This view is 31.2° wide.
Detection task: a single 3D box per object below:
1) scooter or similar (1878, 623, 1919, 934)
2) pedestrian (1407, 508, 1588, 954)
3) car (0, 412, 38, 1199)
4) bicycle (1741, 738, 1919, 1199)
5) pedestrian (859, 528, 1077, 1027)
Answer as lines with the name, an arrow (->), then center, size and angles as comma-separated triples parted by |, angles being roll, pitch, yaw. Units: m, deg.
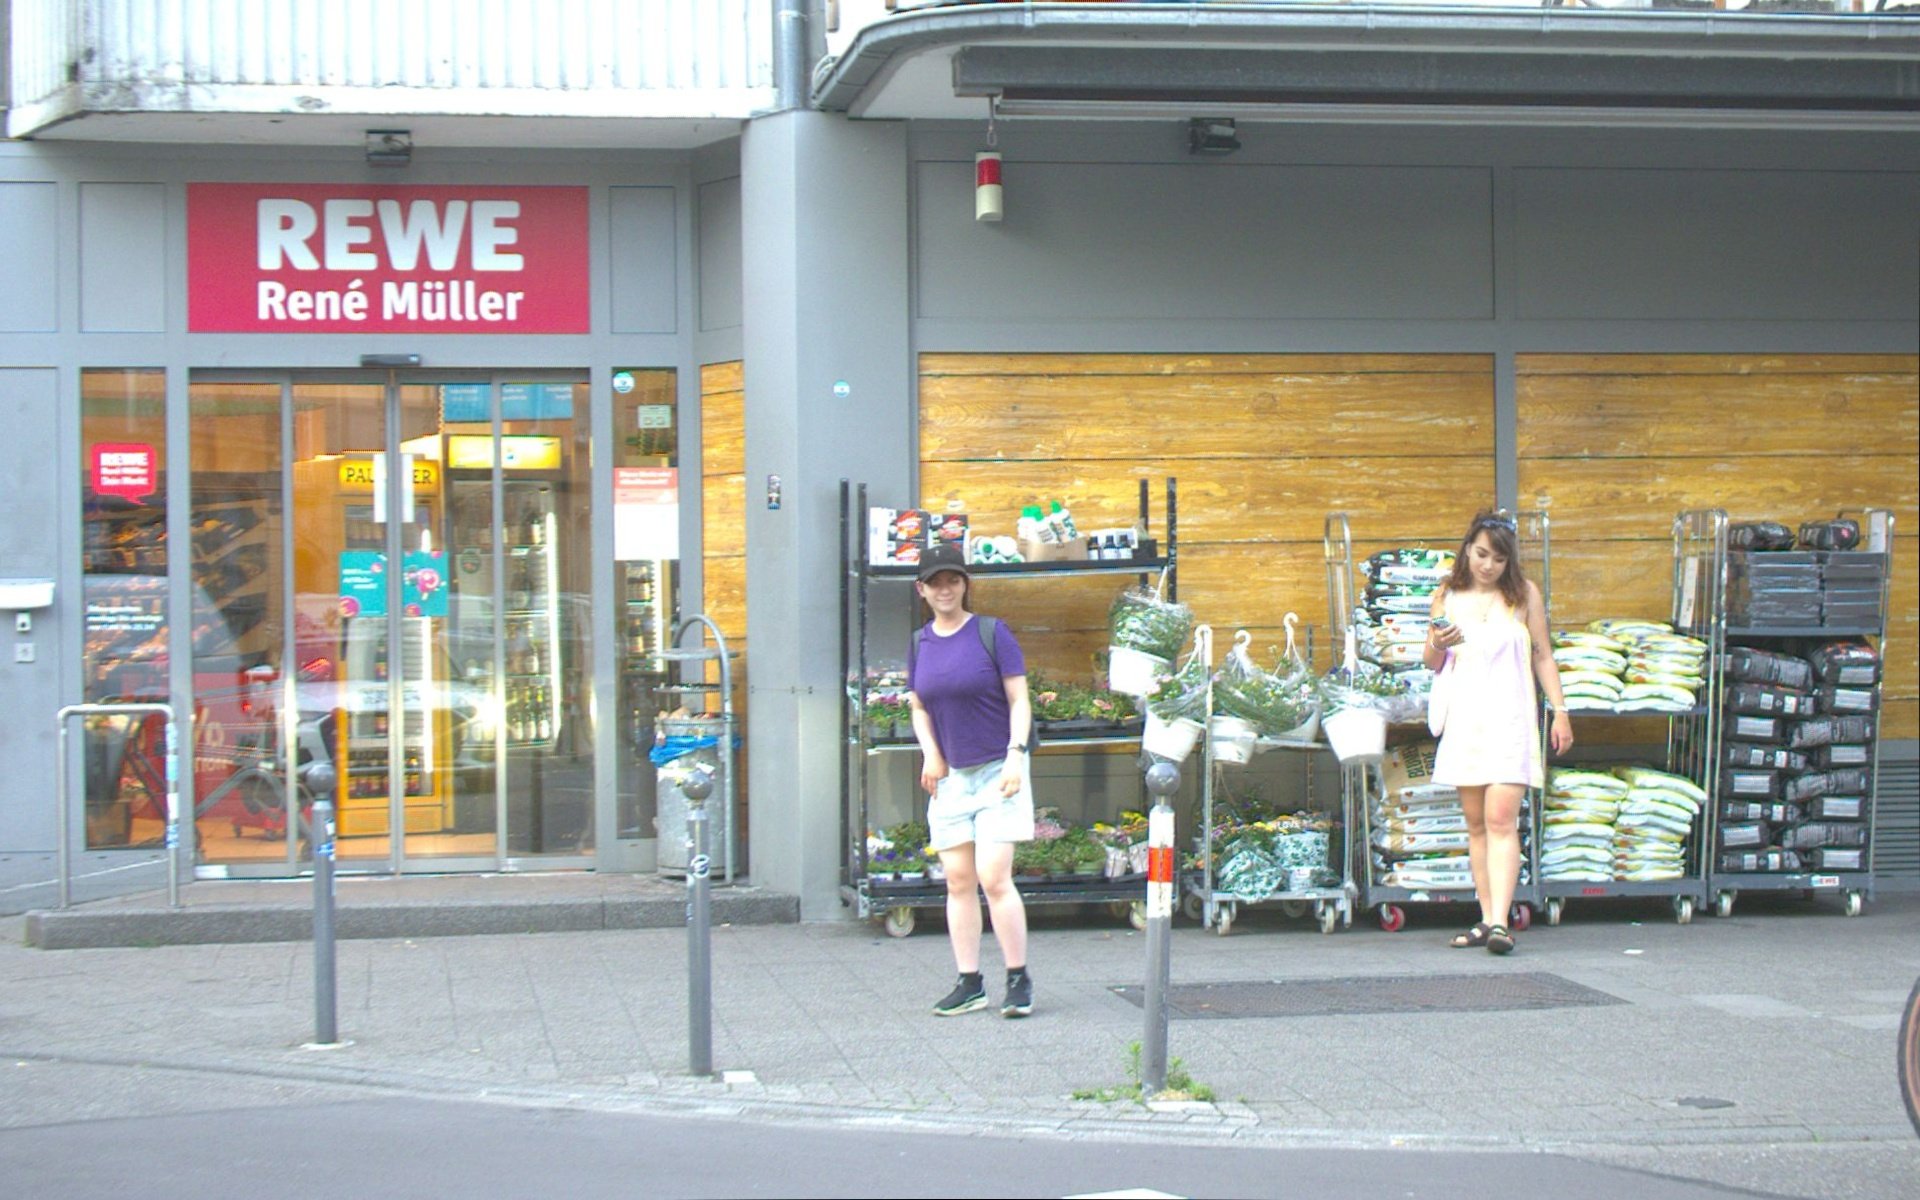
scooter or similar -> 4.192, 0.738, 13.748 | 0.321, 1.262, 1.289 | 1, 0, -19
pedestrian -> 2.129, 0.512, 13.673 | 0.664, 1.720, 0.722 | 0, -1, 5
car -> -4.337, 0.547, 8.332 | 1.939, 1.804, 4.998 | 0, -1, -43
bicycle -> 3.045, 0.892, 8.139 | 2.279, 1.069, 0.790 | 0, 0, 17
pedestrian -> 0.039, 0.593, 11.736 | 0.711, 1.646, 0.718 | 0, -1, 2
